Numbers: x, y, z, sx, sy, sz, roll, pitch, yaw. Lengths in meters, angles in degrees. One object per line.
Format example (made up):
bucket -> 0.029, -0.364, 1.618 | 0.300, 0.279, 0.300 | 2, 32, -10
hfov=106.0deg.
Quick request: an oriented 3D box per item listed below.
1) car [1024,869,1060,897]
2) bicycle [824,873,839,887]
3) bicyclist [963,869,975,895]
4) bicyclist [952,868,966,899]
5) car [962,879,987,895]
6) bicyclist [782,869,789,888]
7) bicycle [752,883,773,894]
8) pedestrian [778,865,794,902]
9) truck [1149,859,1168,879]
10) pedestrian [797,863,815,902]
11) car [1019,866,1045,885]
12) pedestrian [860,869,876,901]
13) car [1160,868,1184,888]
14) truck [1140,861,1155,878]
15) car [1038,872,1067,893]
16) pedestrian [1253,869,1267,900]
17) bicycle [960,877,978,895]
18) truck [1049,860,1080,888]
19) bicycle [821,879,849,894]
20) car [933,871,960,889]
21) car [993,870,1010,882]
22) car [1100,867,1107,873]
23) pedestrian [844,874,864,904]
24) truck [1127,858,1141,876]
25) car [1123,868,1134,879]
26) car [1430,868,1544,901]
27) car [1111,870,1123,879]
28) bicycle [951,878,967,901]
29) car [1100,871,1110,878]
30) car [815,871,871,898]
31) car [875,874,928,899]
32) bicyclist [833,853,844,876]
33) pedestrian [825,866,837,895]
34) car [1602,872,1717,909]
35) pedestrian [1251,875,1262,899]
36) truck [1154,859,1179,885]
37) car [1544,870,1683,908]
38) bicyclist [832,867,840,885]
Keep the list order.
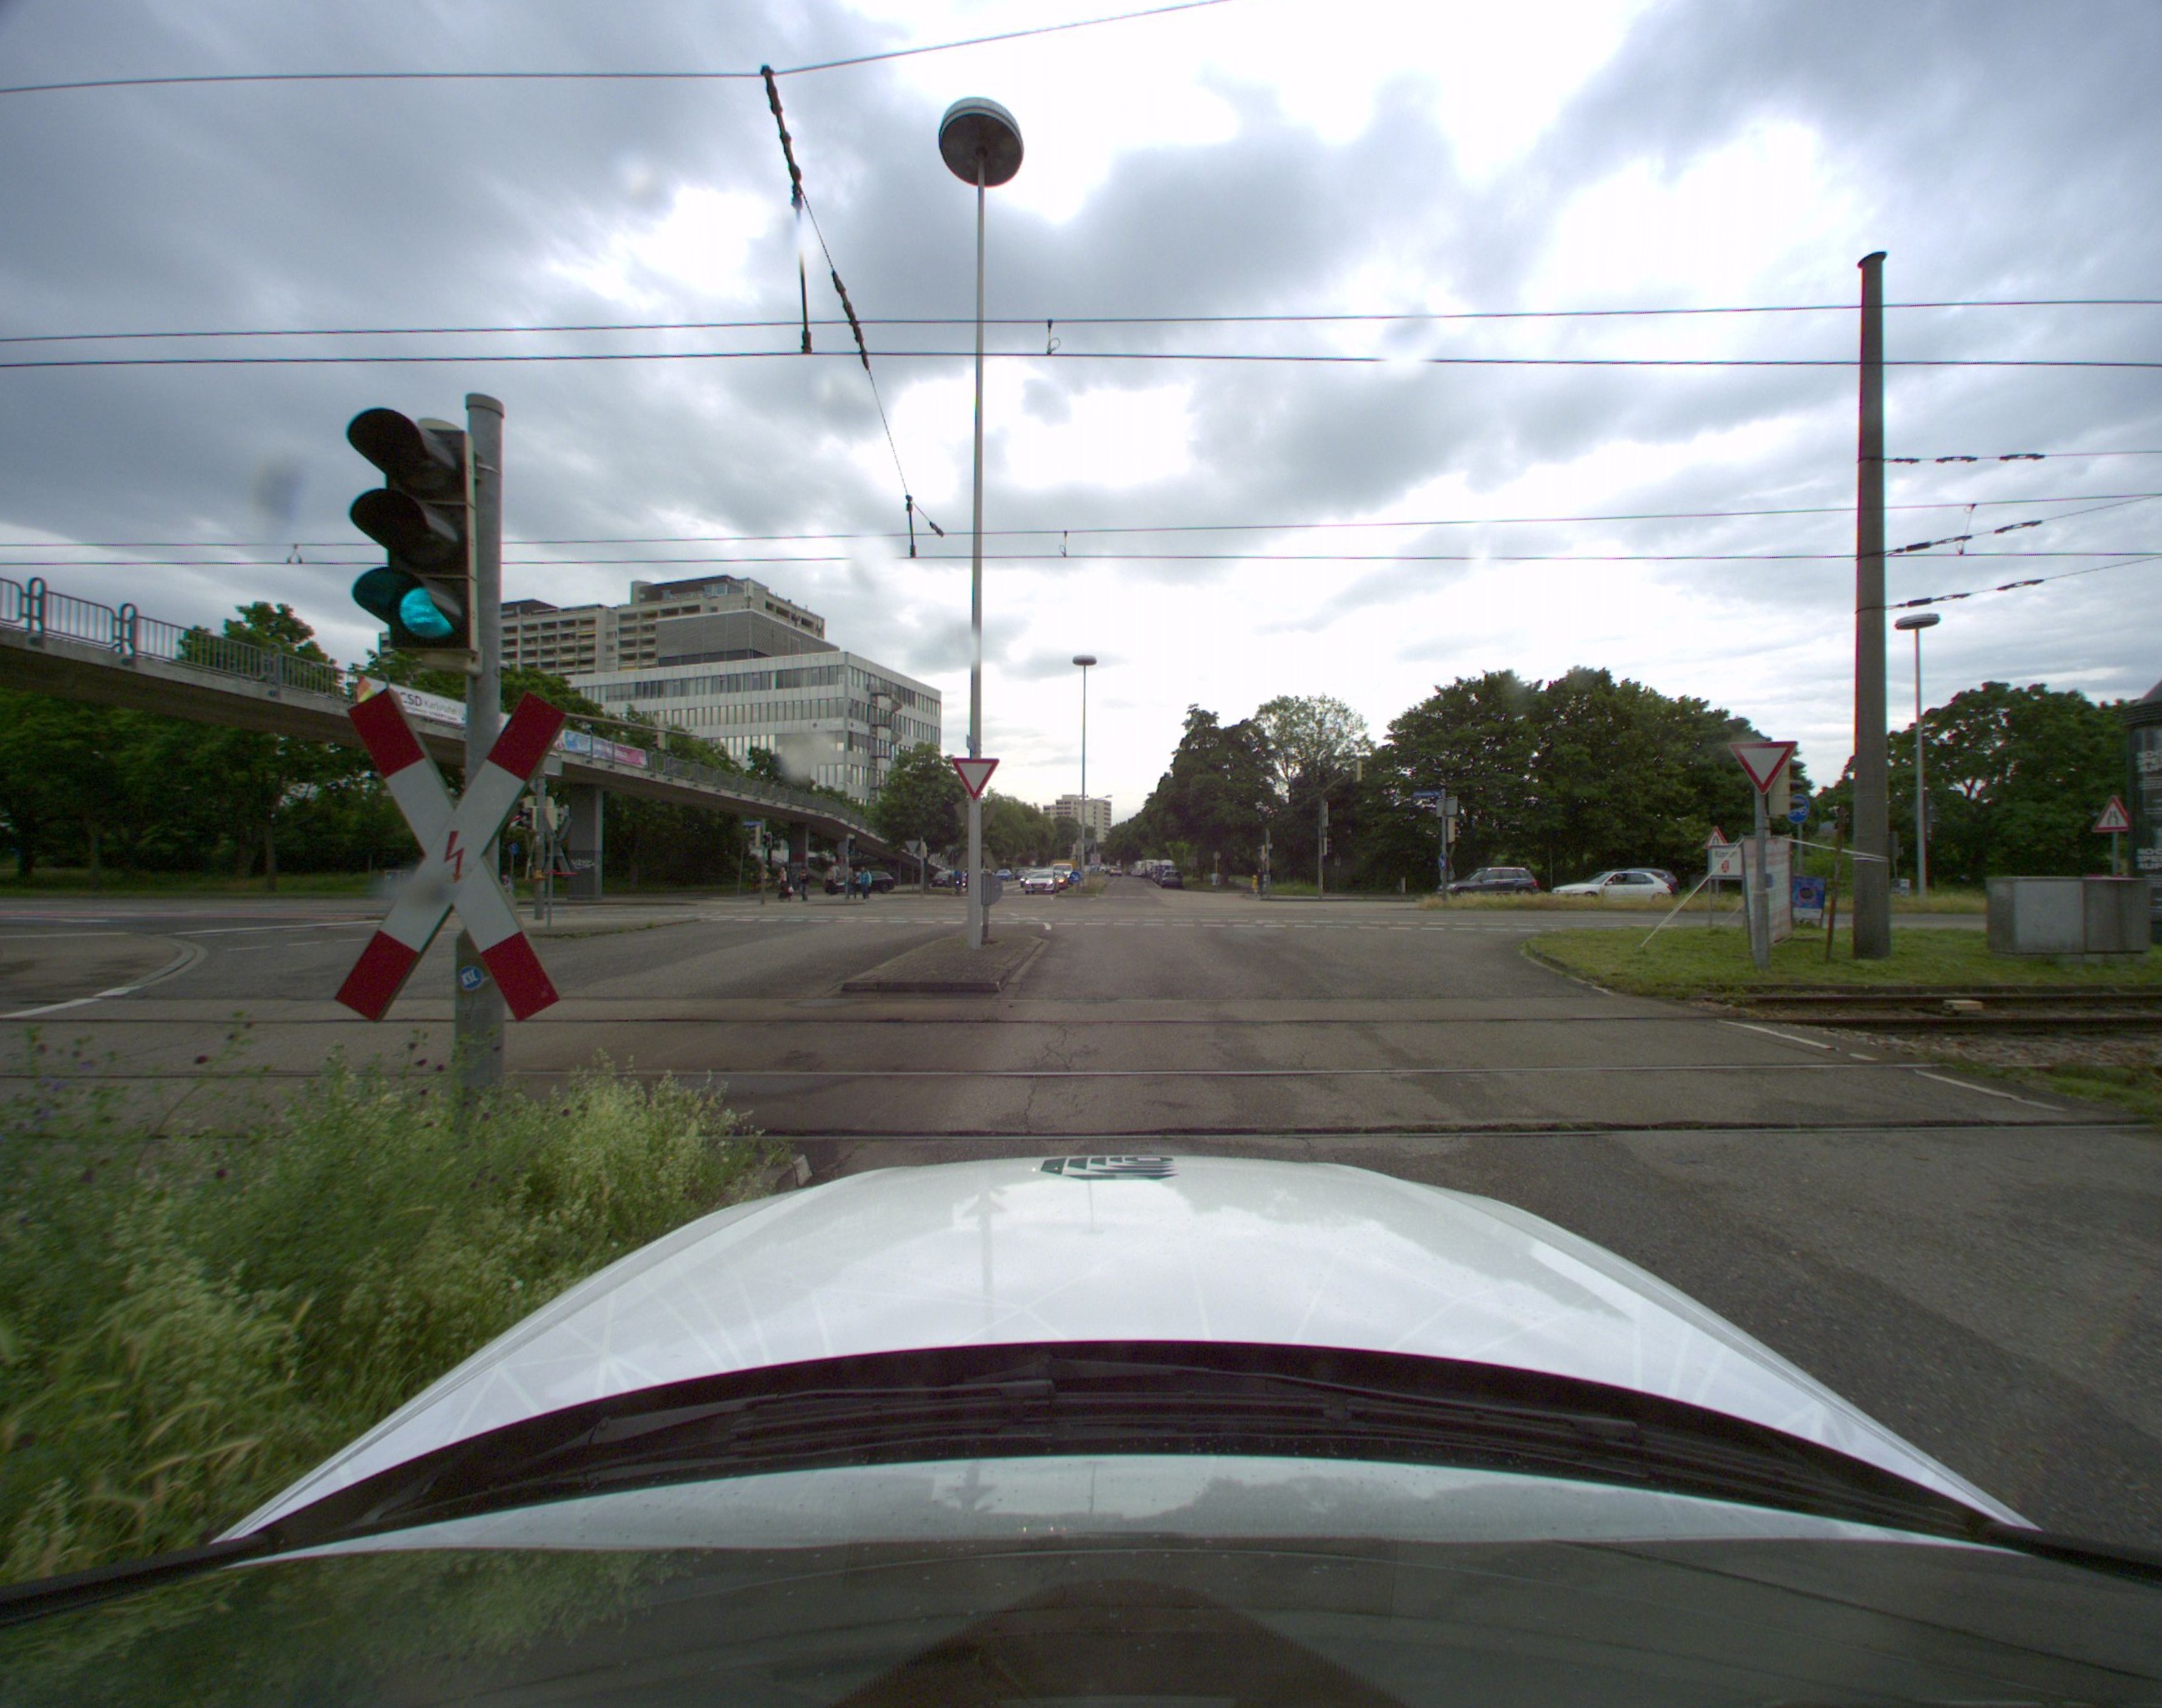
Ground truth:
car -> -2.312, 1.739, 49.437 | 1.783, 1.519, 4.326 | -4, -1, 1
bicycle -> -18.037, 1.868, 58.903 | 0.524, 0.949, 1.710 | 0, -1, 2
bicyclist -> -7.069, 1.774, 51.457 | 0.676, 1.594, 0.695 | 0, -2, 1
bicyclist -> -6.958, 1.680, 46.419 | 0.642, 1.769, 0.647 | 0, -1, 1
car -> -9.408, 2.888, 71.857 | 1.505, 1.390, 3.536 | 0, -2, 4
bicyclist -> -20.486, 1.722, 56.474 | 0.385, 1.303, 0.275 | 1, -2, -36
bicycle -> -21.229, 2.303, 54.305 | 1.303, 0.692, 0.287 | 1, -1, -35
pedestrian -> -13.603, 1.346, 37.531 | 0.619, 1.691, 0.403 | 1, -1, -13
truck -> 11.025, 2.164, 116.537 | 1.989, 2.838, 5.725 | 0, -1, -2
pedestrian -> -12.759, 1.302, 37.809 | 0.636, 1.804, 0.800 | 0, -1, -8
car -> -4.073, 1.778, 68.056 | 1.763, 1.478, 4.391 | 0, -1, 2
pedestrian -> -10.771, 1.559, 41.243 | 0.685, 1.605, 0.487 | 0, -1, -4
car -> 7.842, 2.039, 70.410 | 1.777, 1.662, 4.000 | 0, -1, 1
truck -> 10.482, 2.500, 128.614 | 1.987, 2.573, 5.375 | 0, -2, -1
car -> -2.078, 2.068, 59.944 | 1.890, 1.420, 4.736 | 0, -1, 1
pedestrian -> 10.035, 1.716, 45.661 | 0.654, 1.750, 0.459 | 0, -1, 1
bicycle -> -7.072, 2.029, 51.527 | 0.724, 1.101, 2.264 | 0, -1, 1
truck -> -1.300, 1.654, 68.019 | 2.146, 2.199, 5.844 | 0, -1, 3
bicycle -> -16.561, 2.191, 54.910 | 0.755, 0.949, 1.963 | 0, -1, 21
car -> -12.214, 2.350, 74.370 | 1.665, 1.552, 3.893 | 0, -1, 2
car -> -10.262, 2.818, 105.494 | 1.665, 1.552, 4.001 | 0, -1, 2
car -> 6.475, 4.610, 233.474 | 2.013, 1.505, 4.000 | 0, -1, 1
pedestrian -> -11.577, 1.762, 41.471 | 0.917, 1.511, 0.402 | 1, -1, -10
truck -> 9.056, 2.316, 139.435 | 1.988, 3.009, 5.767 | 0, -2, -2
car -> 9.073, 3.742, 154.749 | 1.647, 1.918, 3.915 | 0, 0, -3
car -> 18.945, 1.401, 38.110 | 4.448, 1.504, 1.847 | 0, -1, 2
car -> 6.206, 3.609, 140.877 | 2.013, 1.505, 4.000 | 0, -1, 1
bicycle -> -6.986, 2.002, 46.836 | 0.541, 1.267, 2.111 | 0, -1, 1
car -> 5.020, 4.209, 167.516 | 2.013, 1.505, 4.000 | 0, -1, 1
car -> -14.973, 1.889, 51.400 | 1.657, 1.508, 4.409 | 0, 0, 9
car -> -11.838, 2.142, 53.929 | 1.658, 1.552, 4.018 | 0, -1, 18
bicyclist -> -17.509, 0.750, 58.852 | 0.563, 1.644, 0.531 | 0, -2, 1
pedestrian -> -13.643, 1.456, 44.435 | 0.580, 1.579, 0.777 | 1, -1, -17
car -> 26.437, 1.664, 37.317 | 3.974, 1.618, 1.878 | 0, -1, 0
pedestrian -> 9.982, 1.879, 46.283 | 0.525, 1.342, 0.525 | 0, -1, 1
truck -> 9.133, 1.962, 87.202 | 2.167, 2.656, 6.246 | 0, -2, 1
car -> 19.898, 1.300, 30.523 | 4.121, 1.357, 1.648 | 0, -1, 2
bicyclist -> -16.574, 1.484, 55.092 | 0.403, 1.182, 0.377 | 0, -1, 3
